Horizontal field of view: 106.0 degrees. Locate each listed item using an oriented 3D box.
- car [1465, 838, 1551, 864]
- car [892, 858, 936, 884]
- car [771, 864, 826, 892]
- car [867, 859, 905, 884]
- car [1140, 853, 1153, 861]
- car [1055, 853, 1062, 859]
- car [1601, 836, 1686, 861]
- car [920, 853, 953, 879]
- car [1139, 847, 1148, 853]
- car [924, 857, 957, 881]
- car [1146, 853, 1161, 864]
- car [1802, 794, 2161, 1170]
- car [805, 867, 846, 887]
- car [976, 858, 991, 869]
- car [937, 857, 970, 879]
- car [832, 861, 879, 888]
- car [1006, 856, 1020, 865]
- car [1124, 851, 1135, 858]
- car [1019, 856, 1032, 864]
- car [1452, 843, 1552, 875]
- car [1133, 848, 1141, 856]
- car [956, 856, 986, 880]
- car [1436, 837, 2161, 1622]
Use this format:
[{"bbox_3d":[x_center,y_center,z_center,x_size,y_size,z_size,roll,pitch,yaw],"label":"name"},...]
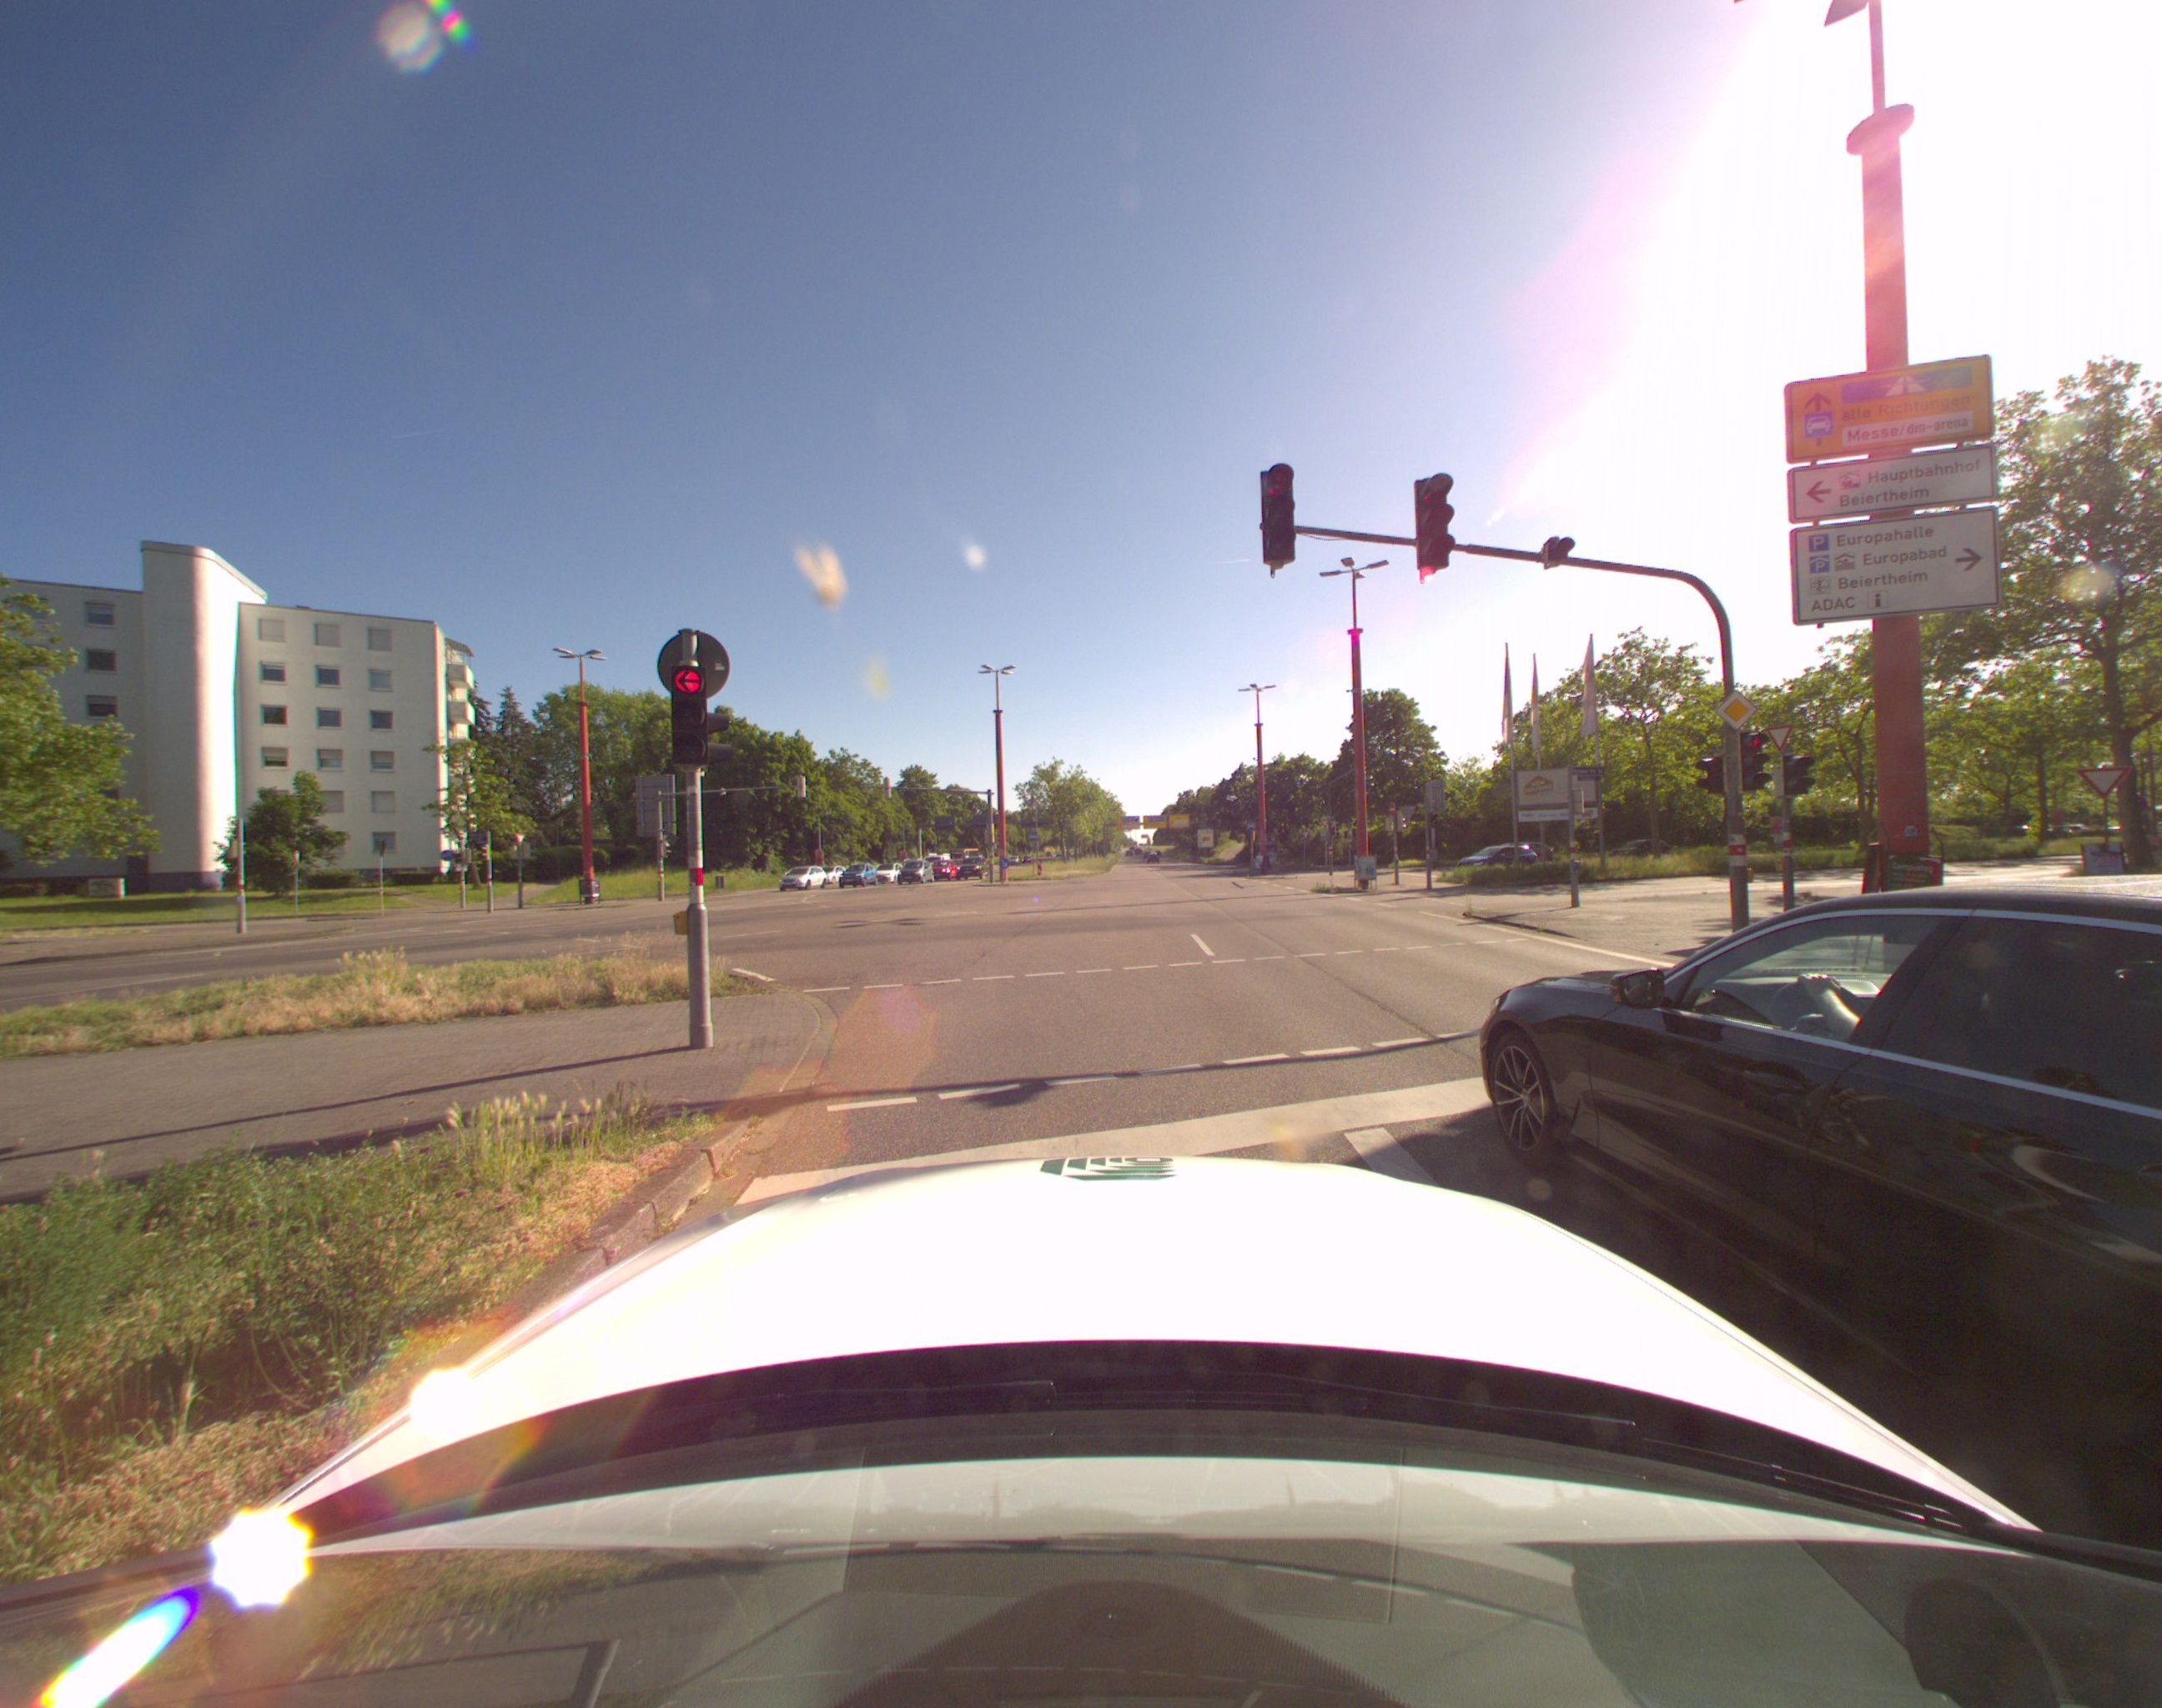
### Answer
[{"bbox_3d":[28.303,-0.190,54.072,4.549,1.573,2.167,-2,0,2],"label":"car"},{"bbox_3d":[-10.728,1.048,52.576,1.988,1.573,4.119,-2,0,-1],"label":"car"},{"bbox_3d":[-17.689,1.469,51.176,1.987,1.573,4.120,-2,0,0],"label":"car"},{"bbox_3d":[-13.735,1.218,57.519,1.991,1.573,4.112,-3,0,-6],"label":"car"},{"bbox_3d":[13.533,0.661,167.482,2.153,1.573,4.277,-2,0,-2],"label":"car"},{"bbox_3d":[-6.264,0.677,230.829,1.872,1.573,3.943,-2,0,-2],"label":"car"},{"bbox_3d":[37.621,-0.360,54.561,4.257,1.573,2.164,-2,0,-3],"label":"car"},{"bbox_3d":[-12.731,1.056,71.982,2.055,2.193,4.377,-2,0,0],"label":"car"},{"bbox_3d":[18.144,-1.052,237.095,2.153,1.573,4.277,-2,0,-2],"label":"car"},{"bbox_3d":[-10.099,1.048,58.867,1.991,1.573,4.112,-2,0,-6],"label":"car"},{"bbox_3d":[10.976,0.713,123.417,2.149,1.573,4.285,-2,0,4],"label":"car"},{"bbox_3d":[5.806,0.560,3.258,1.959,1.686,4.479,-1,0,2],"label":"car"},{"bbox_3d":[-20.717,1.819,66.184,1.786,1.452,4.224,-2,0,2],"label":"car"},{"bbox_3d":[-14.997,1.508,125.523,1.872,1.573,4.117,-2,0,-2],"label":"car"},{"bbox_3d":[-10.062,1.095,64.649,1.988,1.573,4.118,-2,0,-1],"label":"car"},{"bbox_3d":[-14.232,1.286,51.636,1.989,1.573,4.116,-2,0,-3],"label":"car"},{"bbox_3d":[-11.970,1.130,143.620,1.877,1.454,3.658,-2,0,2],"label":"car"},{"bbox_3d":[11.968,0.213,202.152,2.241,1.573,4.276,-2,0,-3],"label":"car"},{"bbox_3d":[-10.985,1.212,160.814,1.986,1.573,4.123,-2,0,2],"label":"car"},{"bbox_3d":[20.811,0.234,40.272,4.276,1.428,1.874,-2,0,-16],"label":"car"},{"bbox_3d":[14.992,-0.493,217.592,1.986,2.013,4.002,-2,0,2],"label":"car"},{"bbox_3d":[-7.562,0.941,56.485,1.874,1.573,4.112,-2,0,-6],"label":"car"},{"bbox_3d":[2.959,0.665,2.369,1.986,1.394,4.479,-2,0,2],"label":"car"}]
